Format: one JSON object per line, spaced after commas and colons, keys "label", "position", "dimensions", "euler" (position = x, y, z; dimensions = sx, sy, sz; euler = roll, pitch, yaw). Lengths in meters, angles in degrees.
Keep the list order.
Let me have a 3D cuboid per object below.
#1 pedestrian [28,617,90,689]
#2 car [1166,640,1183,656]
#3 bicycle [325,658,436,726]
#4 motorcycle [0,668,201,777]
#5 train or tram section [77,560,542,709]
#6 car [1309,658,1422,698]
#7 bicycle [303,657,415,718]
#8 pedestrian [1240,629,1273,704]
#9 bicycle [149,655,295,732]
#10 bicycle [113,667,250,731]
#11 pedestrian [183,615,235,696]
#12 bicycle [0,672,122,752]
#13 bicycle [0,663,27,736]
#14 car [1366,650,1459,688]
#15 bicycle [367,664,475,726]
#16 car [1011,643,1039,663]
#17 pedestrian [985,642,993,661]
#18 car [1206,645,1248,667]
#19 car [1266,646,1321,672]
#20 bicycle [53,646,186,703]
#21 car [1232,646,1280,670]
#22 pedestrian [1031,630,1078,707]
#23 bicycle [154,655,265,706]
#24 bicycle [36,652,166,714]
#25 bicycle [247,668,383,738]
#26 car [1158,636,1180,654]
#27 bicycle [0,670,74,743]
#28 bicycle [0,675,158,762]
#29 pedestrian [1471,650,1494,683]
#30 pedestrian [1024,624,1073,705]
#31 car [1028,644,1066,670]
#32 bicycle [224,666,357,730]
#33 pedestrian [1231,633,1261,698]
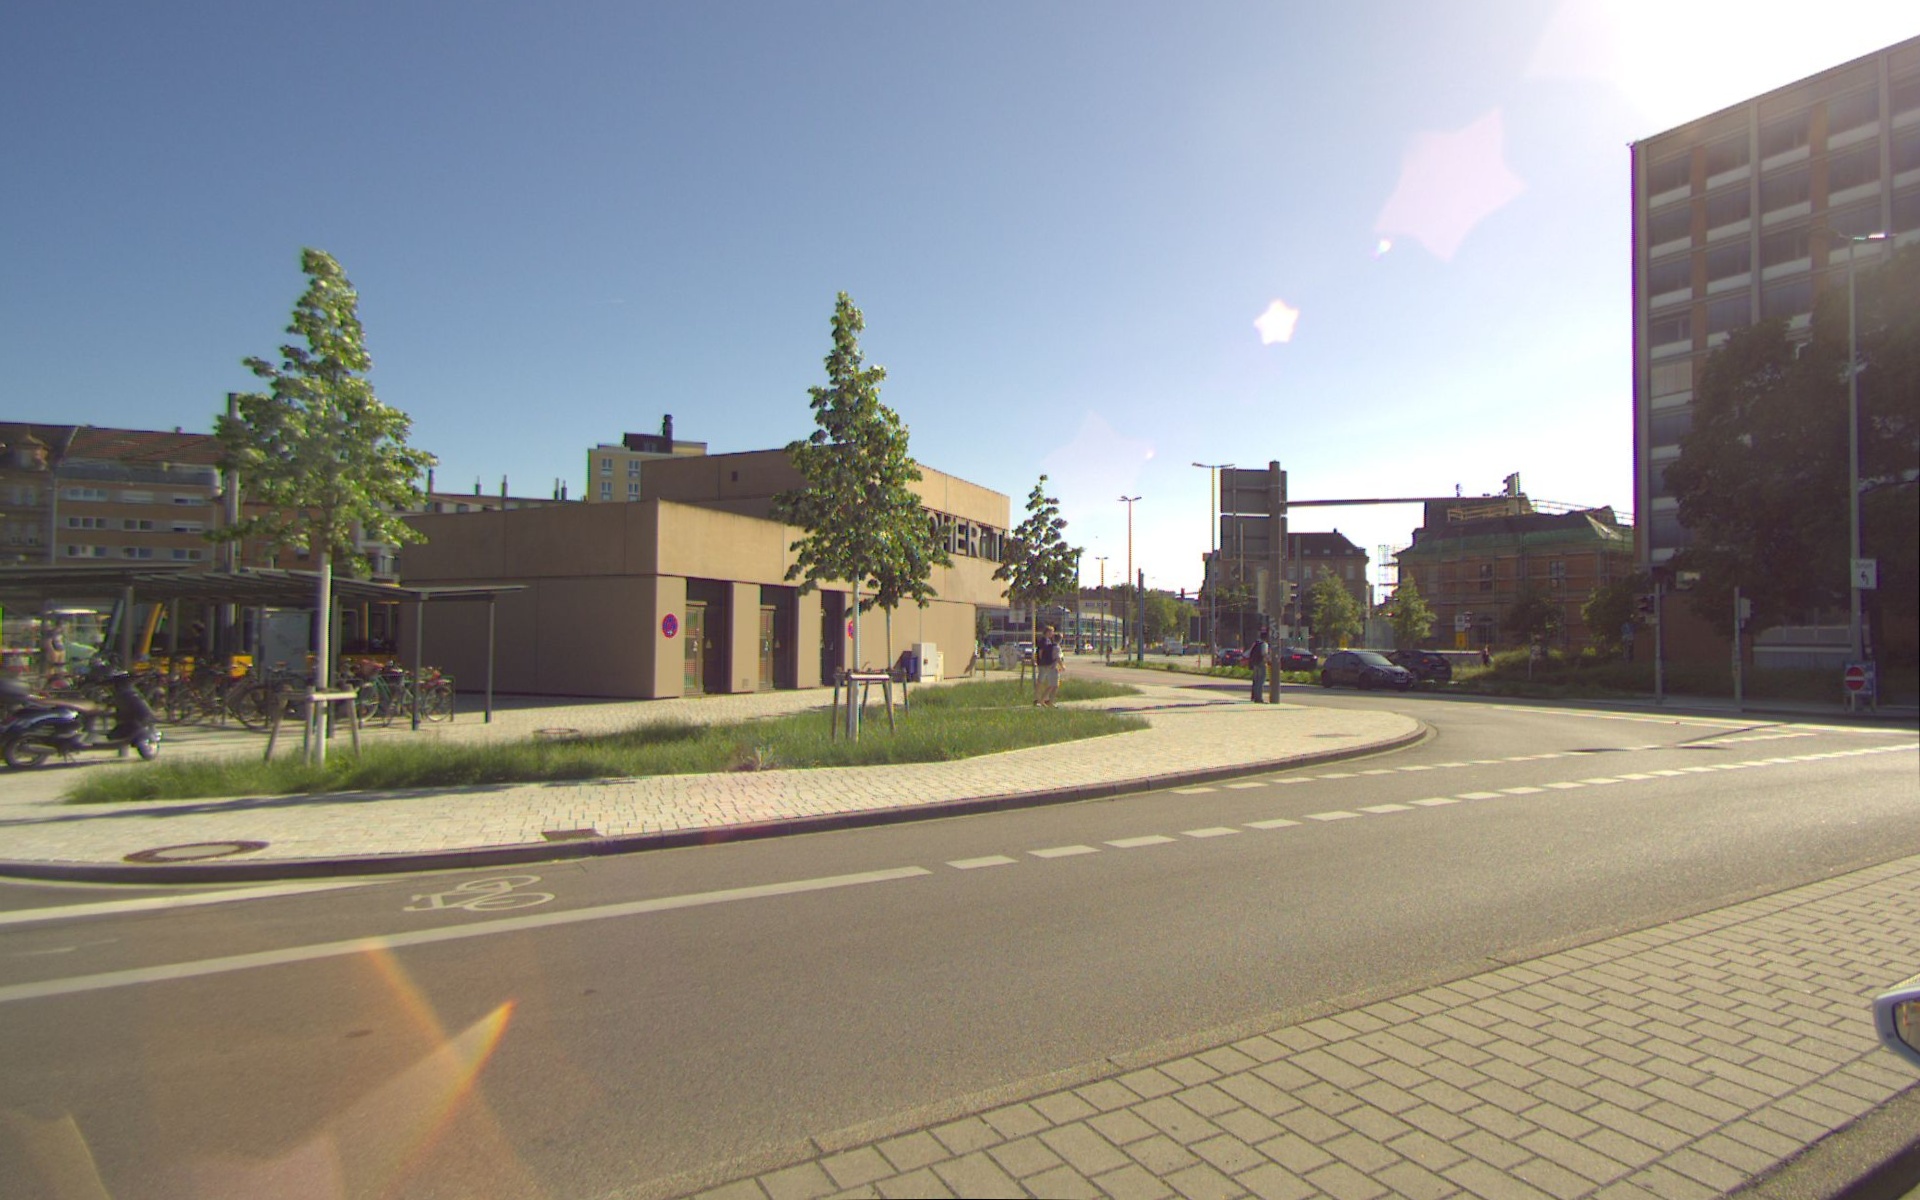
{"label": "pedestrian", "position": [-26.263, 1.538, 29.292], "dimensions": [0.854, 2.040, 1.012], "euler": [0, -2, 19]}
{"label": "car", "position": [29.281, 6.546, 137.046], "dimensions": [2.030, 2.040, 5.019], "euler": [0, -2, 10]}
{"label": "bicycle", "position": [-10.743, 1.675, 18.687], "dimensions": [0.616, 1.161, 1.831], "euler": [0, -2, 18]}
{"label": "motorcycle", "position": [-10.920, 1.478, 12.479], "dimensions": [0.599, 1.173, 2.360], "euler": [0, -2, 25]}
{"label": "train or tram section", "position": [-18.703, 1.068, 30.682], "dimensions": [2.702, 3.648, 12.318], "euler": [0, -2, 25]}
{"label": "car", "position": [15.444, 2.935, 38.495], "dimensions": [1.968, 1.407, 3.986], "euler": [1, -3, -17]}
{"label": "bicycle", "position": [-11.747, 1.687, 19.693], "dimensions": [0.617, 1.107, 1.829], "euler": [0, -2, 25]}
{"label": "pedestrian", "position": [7.559, 1.684, 25.652], "dimensions": [0.594, 1.880, 0.681], "euler": [1, -2, -7]}
{"label": "bicycle", "position": [-12.889, 1.599, 17.633], "dimensions": [0.496, 1.225, 2.051], "euler": [0, -2, 26]}
{"label": "bicycle", "position": [-13.866, 1.741, 17.942], "dimensions": [0.617, 1.021, 1.828], "euler": [0, -2, 27]}
{"label": "pedestrian", "position": [-17.681, 1.303, 23.661], "dimensions": [0.738, 1.880, 0.709], "euler": [1, -2, -19]}
{"label": "bicycle", "position": [-13.122, 1.557, 14.076], "dimensions": [0.617, 1.021, 2.026], "euler": [0, -2, 25]}
{"label": "bicycle", "position": [-15.273, 1.515, 15.016], "dimensions": [0.617, 1.094, 1.829], "euler": [0, -2, 25]}
{"label": "car", "position": [20.765, 3.143, 46.300], "dimensions": [1.805, 1.591, 3.988], "euler": [1, -2, -15]}
{"label": "bicycle", "position": [-9.823, 1.709, 18.388], "dimensions": [0.616, 1.021, 1.832], "euler": [0, -2, 16]}
{"label": "car", "position": [5.776, 4.715, 89.312], "dimensions": [1.868, 1.728, 3.998], "euler": [1, -2, -5]}
{"label": "pedestrian", "position": [3.219, 5.710, 111.719], "dimensions": [0.708, 2.040, 0.718], "euler": [0, -2, 11]}
{"label": "car", "position": [20.054, 4.209, 75.508], "dimensions": [1.962, 1.538, 3.818], "euler": [1, -2, -4]}
{"label": "car", "position": [20.808, 3.657, 62.737], "dimensions": [1.962, 1.538, 3.818], "euler": [1, -2, -4]}
{"label": "bicycle", "position": [-15.993, 1.391, 19.170], "dimensions": [0.617, 1.021, 1.828], "euler": [0, -2, 27]}
{"label": "car", "position": [20.283, 3.939, 69.001], "dimensions": [1.962, 1.538, 3.818], "euler": [1, -2, -4]}
{"label": "pedestrian", "position": [2.183, 1.570, 23.244], "dimensions": [1.004, 1.727, 0.839], "euler": [0, -2, -1]}
{"label": "bicycle", "position": [-16.258, 1.733, 21.808], "dimensions": [0.617, 1.021, 1.829], "euler": [0, -2, 25]}
{"label": "bicycle", "position": [-16.912, 1.609, 19.833], "dimensions": [0.617, 1.146, 1.828], "euler": [0, -2, 27]}
{"label": "bicycle", "position": [-10.673, 1.678, 16.687], "dimensions": [0.617, 1.021, 1.828], "euler": [0, -2, 27]}
{"label": "car", "position": [31.854, 6.789, 152.909], "dimensions": [2.952, 2.580, 6.963], "euler": [0, -2, 13]}
{"label": "bicycle", "position": [-14.105, 1.549, 14.517], "dimensions": [0.617, 1.021, 1.829], "euler": [0, -2, 25]}
{"label": "bicycle", "position": [-12.038, 1.558, 13.525], "dimensions": [0.617, 1.021, 1.829], "euler": [0, -2, 25]}
{"label": "pedestrian", "position": [33.115, 4.187, 63.642], "dimensions": [0.996, 2.040, 0.825], "euler": [1, -2, -6]}
{"label": "pedestrian", "position": [2.090, 1.516, 23.766], "dimensions": [0.855, 1.869, 0.837], "euler": [1, -2, -25]}
{"label": "car", "position": [6.361, 4.172, 73.588], "dimensions": [1.963, 1.814, 3.995], "euler": [1, -2, -8]}
{"label": "bicycle", "position": [-11.616, 1.679, 17.504], "dimensions": [0.492, 1.010, 1.887], "euler": [0, -2, 31]}
{"label": "pedestrian", "position": [7.668, 1.754, 26.933], "dimensions": [0.594, 1.719, 0.634], "euler": [1, -2, -7]}
